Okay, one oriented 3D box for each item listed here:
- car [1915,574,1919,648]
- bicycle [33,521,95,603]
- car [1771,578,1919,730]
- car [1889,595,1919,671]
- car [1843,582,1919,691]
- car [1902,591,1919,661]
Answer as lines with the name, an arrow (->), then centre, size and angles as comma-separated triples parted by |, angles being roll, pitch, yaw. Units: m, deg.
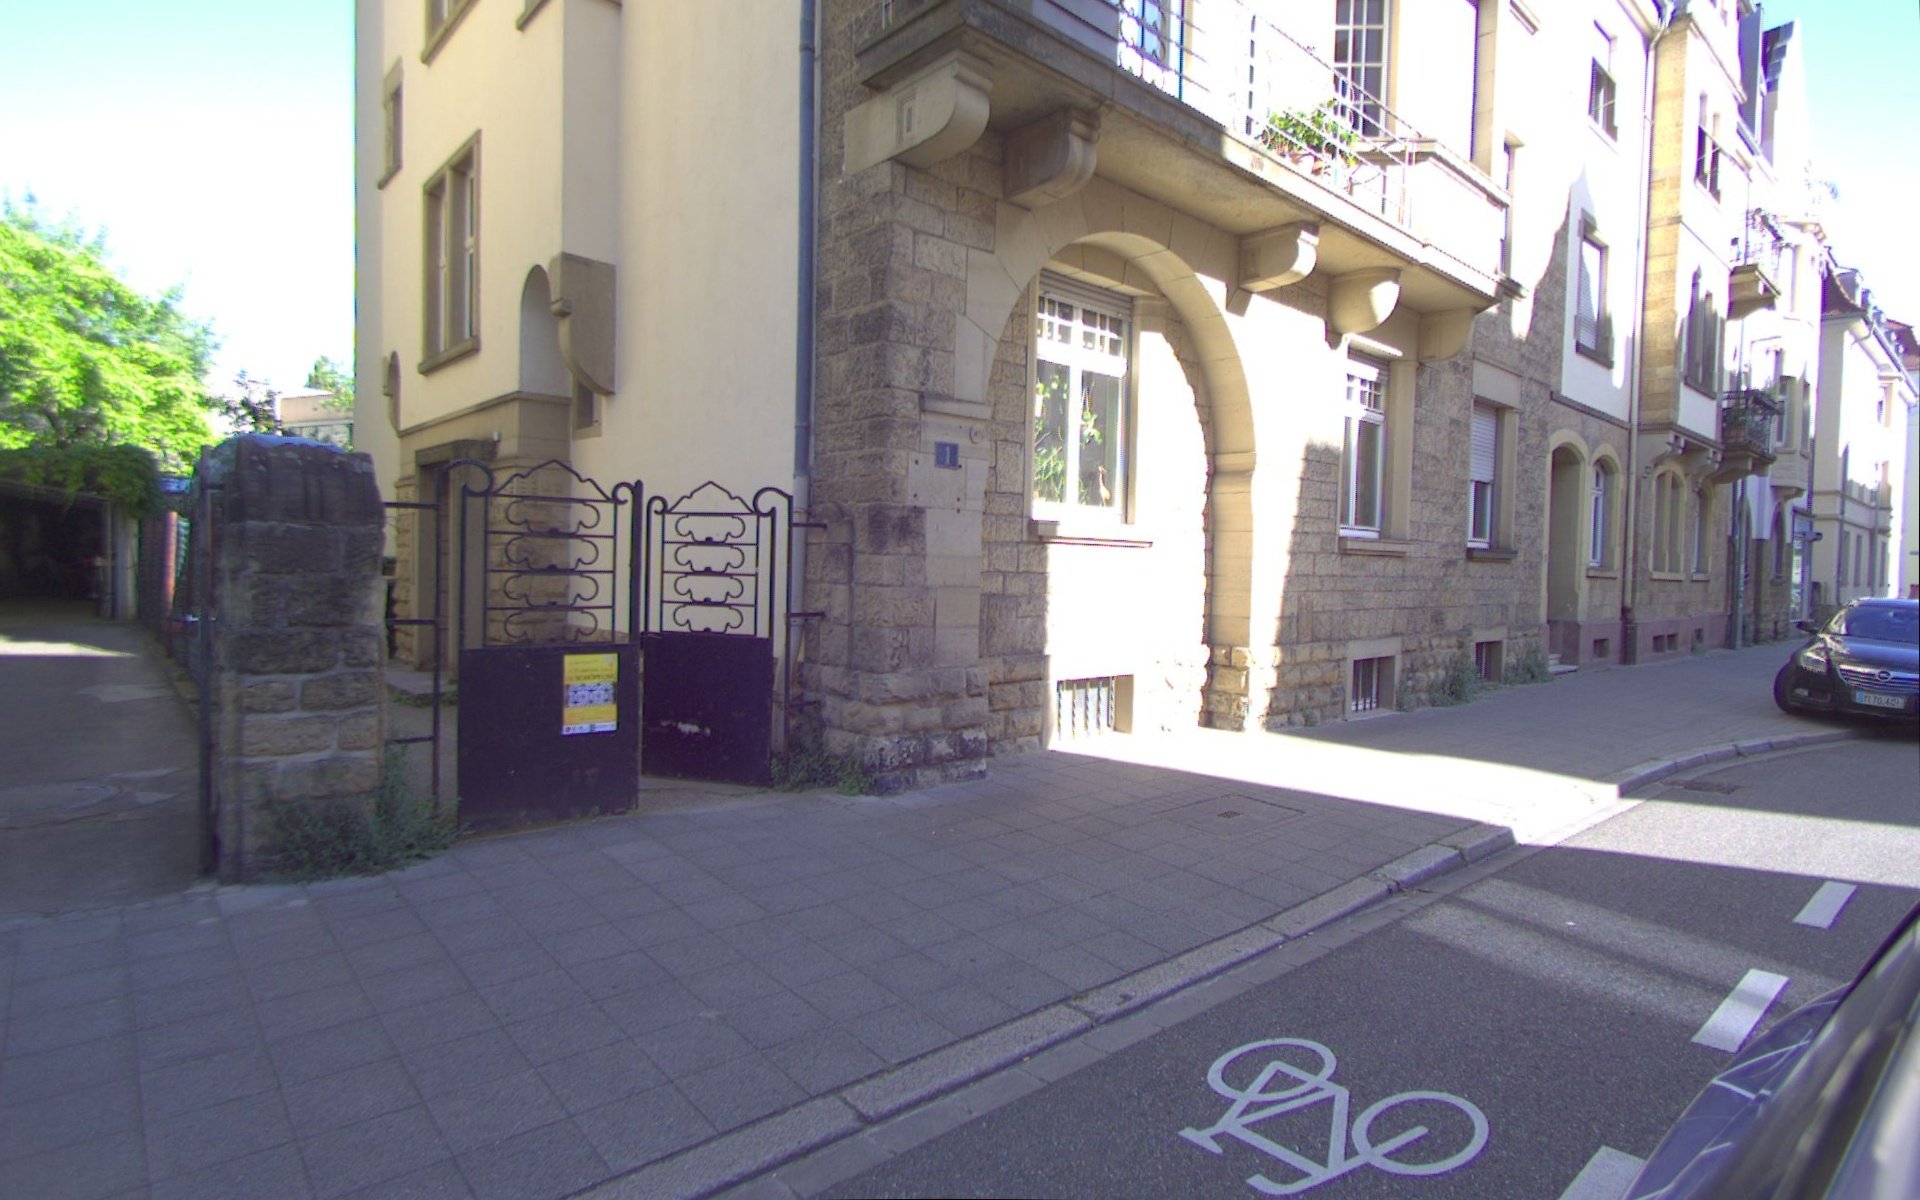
car -> 26.230, 0.309, 26.051 | 4.247, 1.860, 2.004 | -1, 4, -42
bicycle -> -18.305, -0.813, 20.723 | 0.903, 1.530, 2.672 | 0, 4, -41
car -> 11.517, 0.565, 12.200 | 4.043, 1.526, 2.023 | -1, 5, -42
car -> 18.791, 0.614, 18.973 | 3.667, 1.295, 1.659 | -1, 4, -42
car -> 15.528, 0.562, 15.868 | 4.247, 1.527, 2.004 | 0, 3, -42
car -> 22.167, 0.577, 22.194 | 4.247, 1.440, 1.823 | -1, 4, -42
